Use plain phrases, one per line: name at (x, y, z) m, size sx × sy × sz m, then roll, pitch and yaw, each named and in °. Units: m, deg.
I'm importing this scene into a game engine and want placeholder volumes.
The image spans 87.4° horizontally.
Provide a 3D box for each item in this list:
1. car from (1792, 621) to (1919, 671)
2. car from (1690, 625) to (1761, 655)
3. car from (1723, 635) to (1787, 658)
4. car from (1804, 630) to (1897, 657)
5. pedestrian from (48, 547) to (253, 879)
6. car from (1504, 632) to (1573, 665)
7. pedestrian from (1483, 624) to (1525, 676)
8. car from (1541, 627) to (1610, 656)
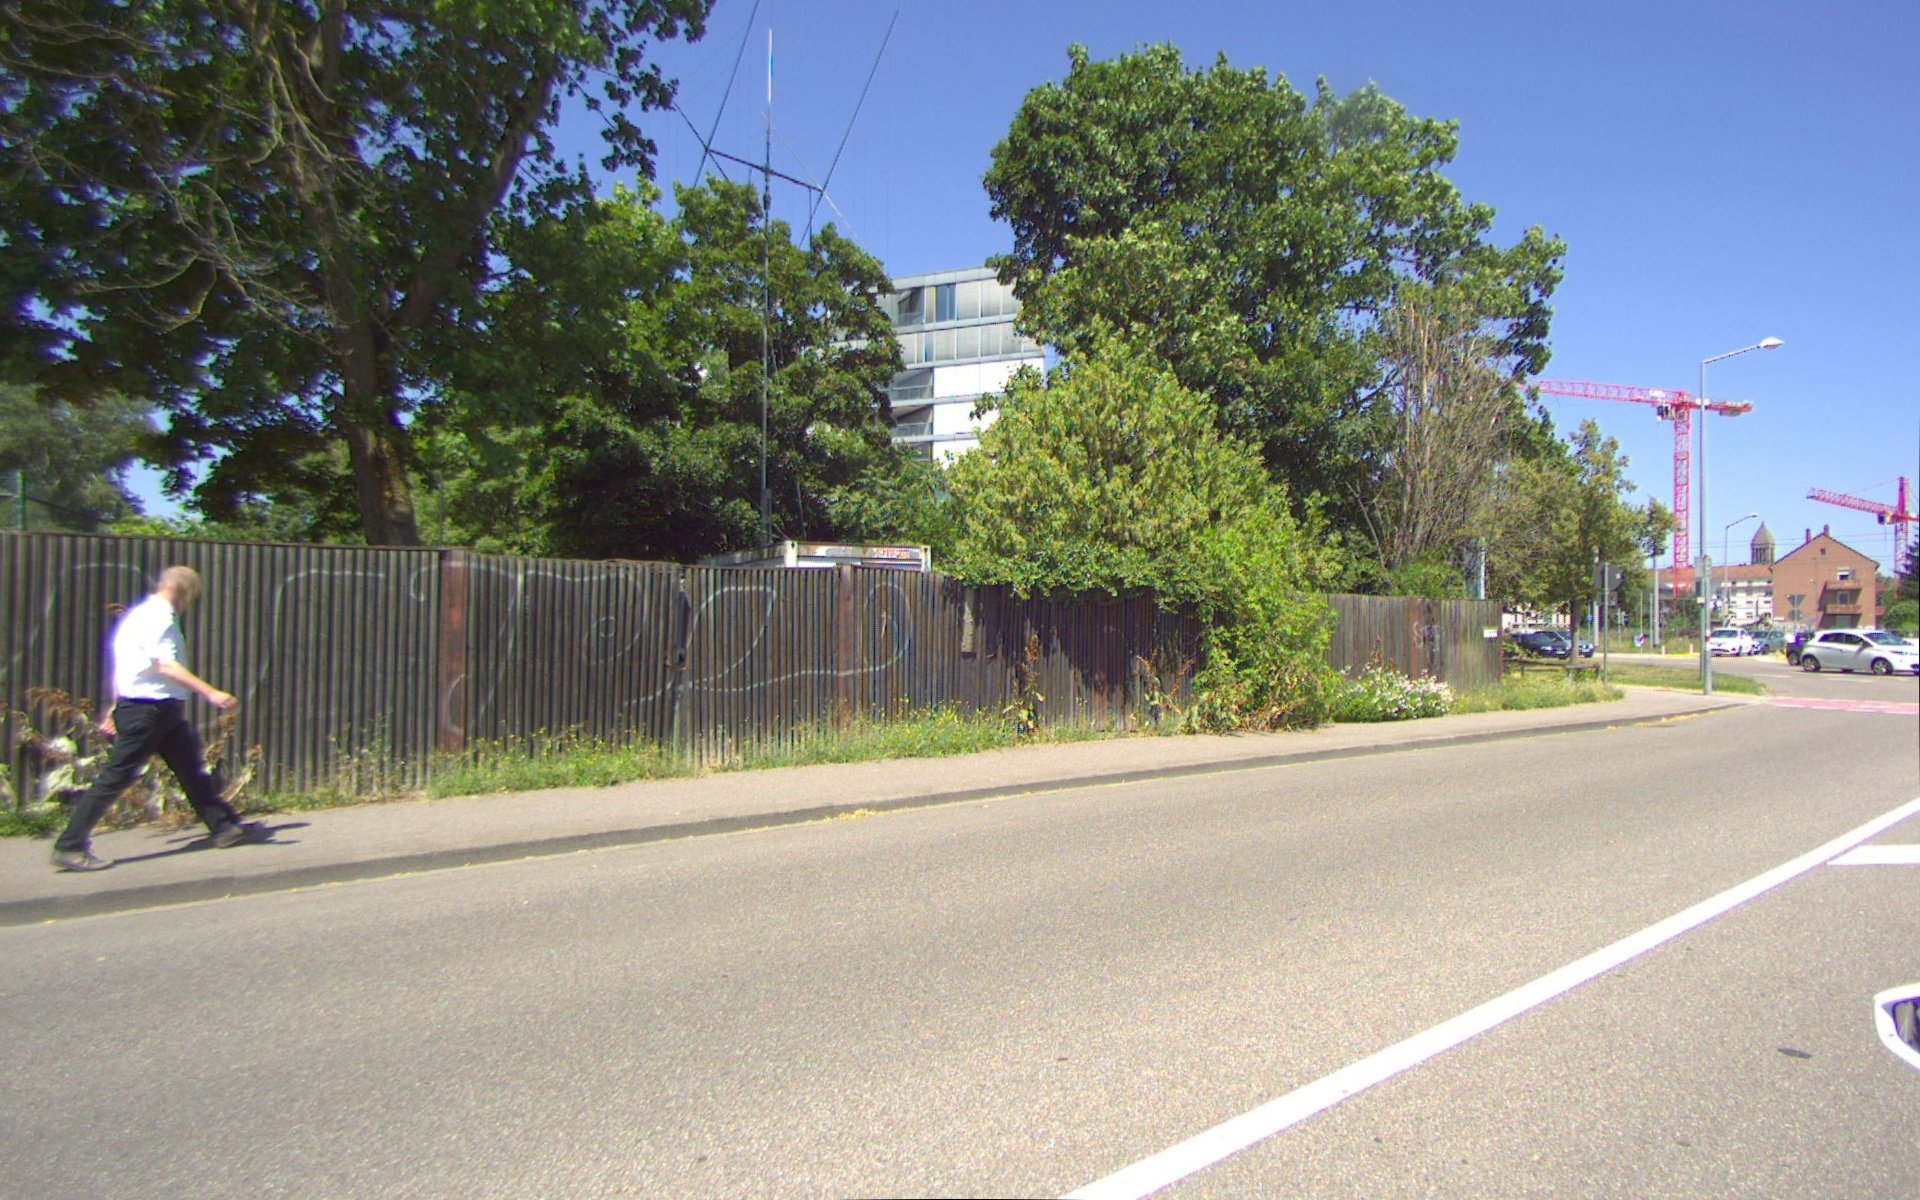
car at (32.202, 1.604, 35.778) m, size 1.648 × 1.641 × 4.010 m, roll 1°, pitch -1°, yaw -4°
car at (42.183, 2.215, 55.338) m, size 3.953 × 1.570 × 1.748 m, roll 2°, pitch -1°, yaw -30°
car at (46.484, 2.722, 58.734) m, size 3.742 × 1.253 × 1.699 m, roll 2°, pitch -1°, yaw -30°
car at (55.174, 2.665, 62.282) m, size 4.136 × 1.520 × 1.713 m, roll 1°, pitch -1°, yaw 3°
pedestrian at (-4.846, 0.640, 6.072) m, size 0.841 × 1.849 × 0.589 m, roll 1°, pitch 0°, yaw -30°
car at (31.815, 2.624, 55.367) m, size 1.702 × 1.641 × 4.014 m, roll 1°, pitch -1°, yaw 5°
pedestrian at (17.068, 1.557, 31.541) m, size 0.796 × 1.584 × 0.876 m, roll 1°, pitch 0°, yaw -7°
car at (35.901, 2.389, 58.710) m, size 1.764 × 1.516 × 4.002 m, roll 1°, pitch -1°, yaw 3°
